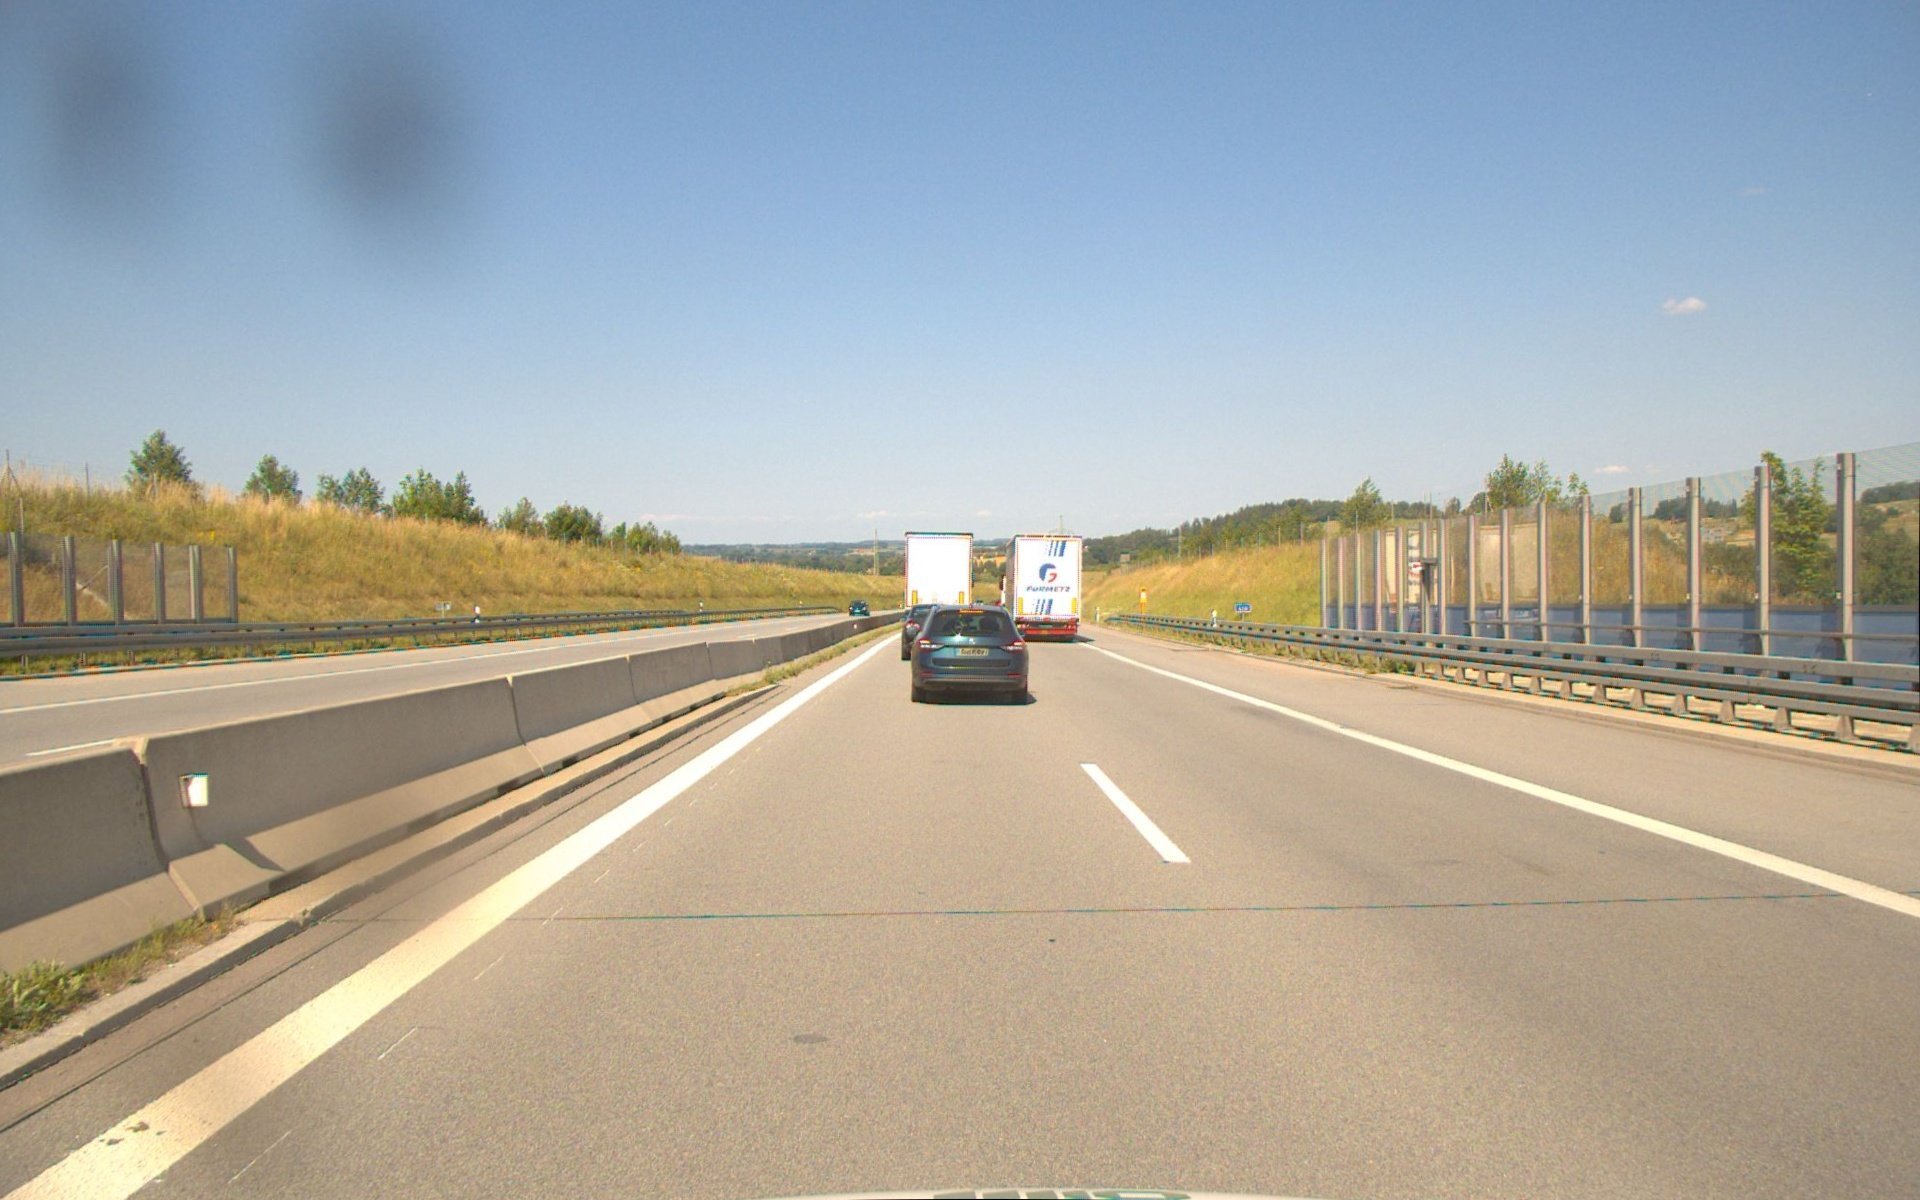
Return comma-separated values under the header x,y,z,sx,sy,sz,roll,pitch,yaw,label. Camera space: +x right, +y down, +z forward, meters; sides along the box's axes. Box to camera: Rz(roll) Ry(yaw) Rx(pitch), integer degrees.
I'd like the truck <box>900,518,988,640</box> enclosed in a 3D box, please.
x,y,z,sx,sy,sz,roll,pitch,yaw,label
-0.595,-0.791,67.487,3.145,4.458,11.233,-2,0,0,truck

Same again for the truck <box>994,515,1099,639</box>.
x,y,z,sx,sy,sz,roll,pitch,yaw,label
3.331,-0.862,67.174,3.531,4.458,11.232,-2,0,0,truck

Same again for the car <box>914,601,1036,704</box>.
x,y,z,sx,sy,sz,roll,pitch,yaw,label
0.169,0.761,25.623,1.741,1.466,3.787,0,0,-2,car

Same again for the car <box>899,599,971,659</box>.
x,y,z,sx,sy,sz,roll,pitch,yaw,label
-0.712,0.741,44.162,1.666,1.466,3.997,-2,0,-4,car

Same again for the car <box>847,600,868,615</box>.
x,y,z,sx,sy,sz,roll,pitch,yaw,label
-9.906,0.677,160.189,1.710,1.379,4.000,-2,0,0,car

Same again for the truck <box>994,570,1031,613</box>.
x,y,z,sx,sy,sz,roll,pitch,yaw,label
5.773,-0.950,184.452,3.531,4.458,11.232,-2,0,0,truck

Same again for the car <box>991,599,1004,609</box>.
x,y,z,sx,sy,sz,roll,pitch,yaw,label
5.472,0.567,240.160,1.665,1.466,3.999,0,0,-2,car
